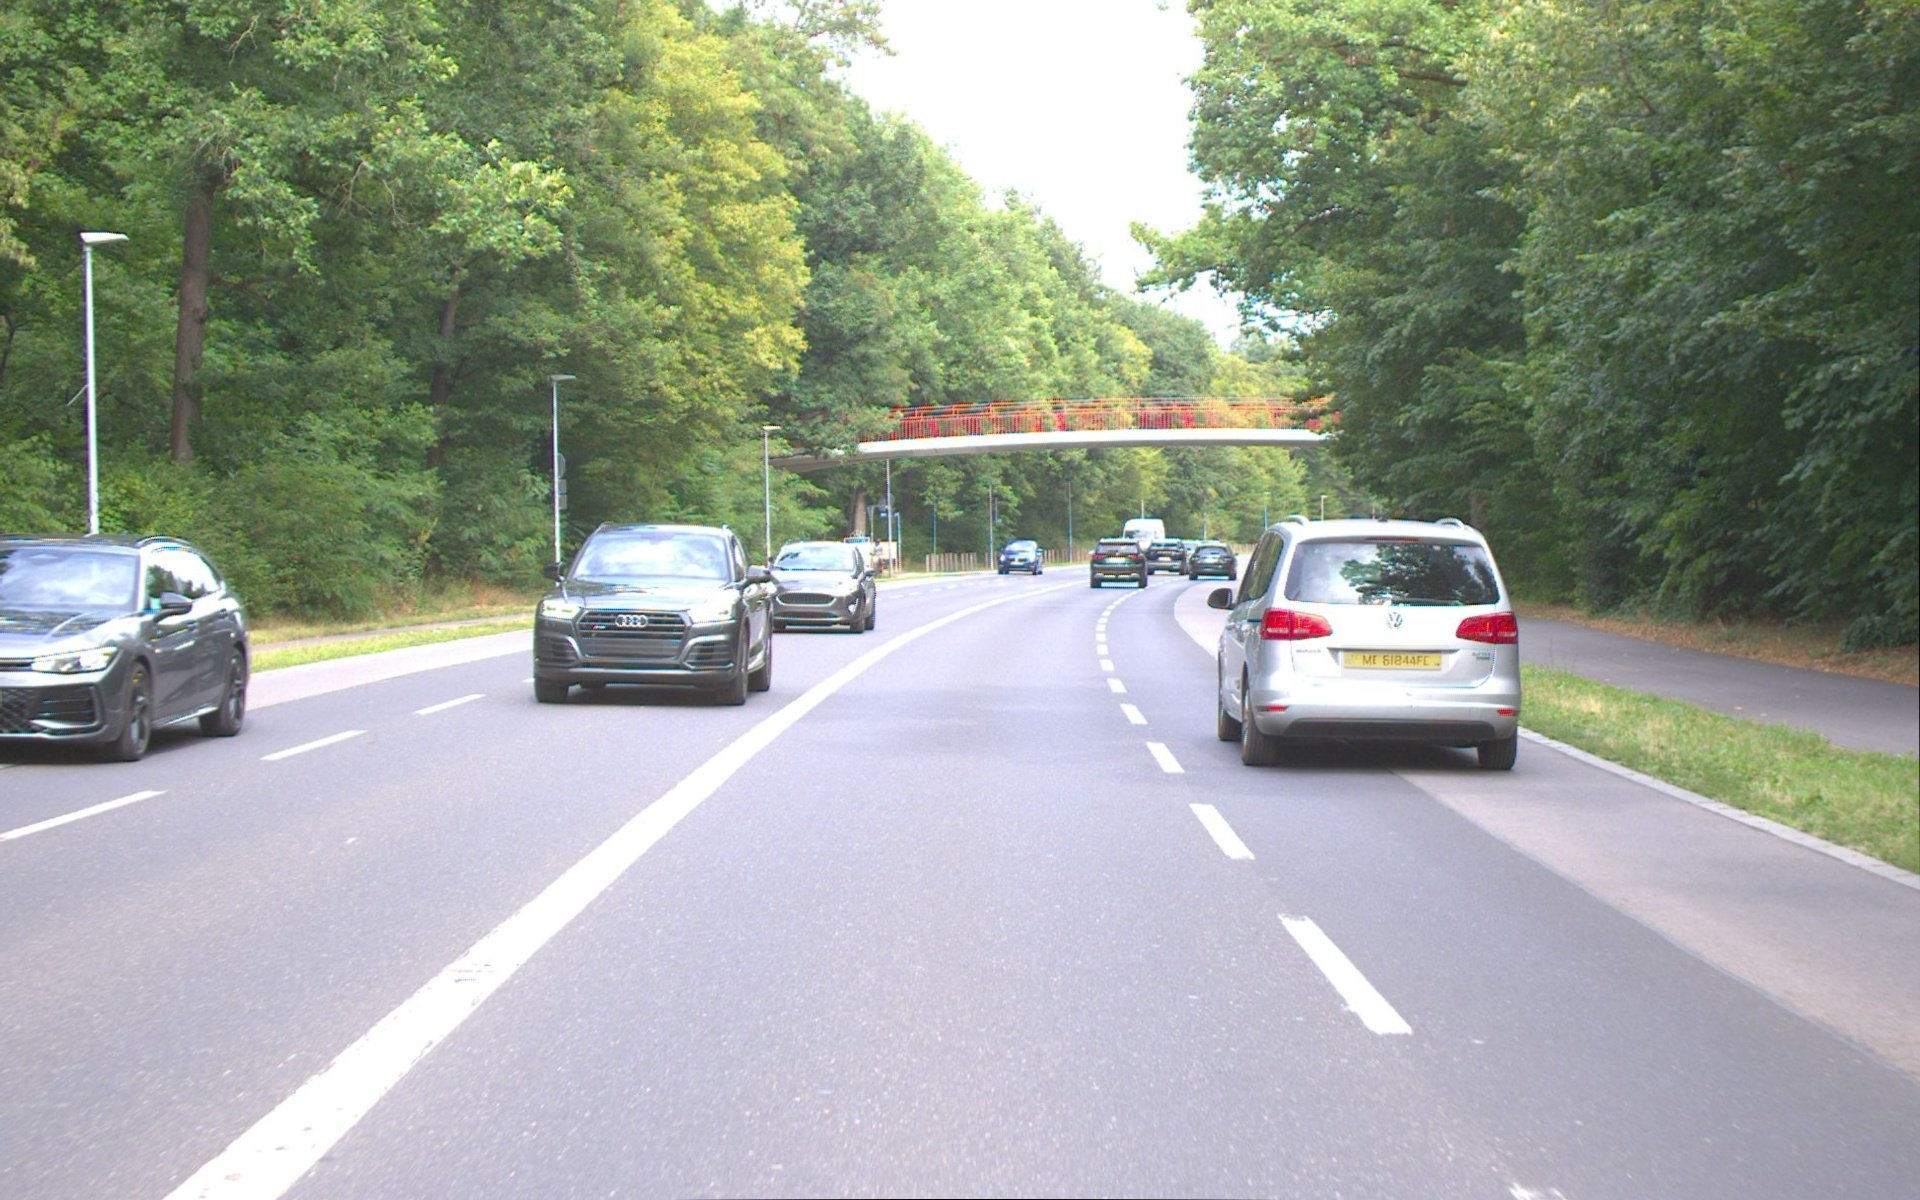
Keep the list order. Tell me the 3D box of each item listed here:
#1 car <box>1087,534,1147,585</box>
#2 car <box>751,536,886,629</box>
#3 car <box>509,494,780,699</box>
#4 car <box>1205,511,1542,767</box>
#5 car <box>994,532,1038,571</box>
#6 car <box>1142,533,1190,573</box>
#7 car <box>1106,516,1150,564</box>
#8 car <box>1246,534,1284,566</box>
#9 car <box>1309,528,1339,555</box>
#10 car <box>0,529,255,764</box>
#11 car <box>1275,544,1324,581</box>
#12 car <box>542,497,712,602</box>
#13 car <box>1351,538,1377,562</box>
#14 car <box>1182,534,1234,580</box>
[{"bbox_3d":[5.184,-1.309,113.234,1.730,1.582,3.999,2,0,5],"label":"car"},{"bbox_3d":[-2.246,-0.293,55.390,1.698,1.381,3.826,-2,0,4],"label":"car"},{"bbox_3d":[-2.850,-0.044,31.929,1.963,1.700,4.000,-2,0,2],"label":"car"},{"bbox_3d":[2.840,0.250,24.439,1.994,1.601,4.000,2,0,2],"label":"car"},{"bbox_3d":[2.425,-2.065,148.680,1.740,1.590,4.000,2,0,-1],"label":"car"},{"bbox_3d":[9.229,-2.080,153.873,1.994,1.691,3.999,2,0,5],"label":"car"},{"bbox_3d":[10.154,-3.591,207.186,2.100,2.744,4.345,2,0,9],"label":"car"},{"bbox_3d":[17.267,-2.829,194.789,1.803,1.662,4.000,2,0,1],"label":"car"},{"bbox_3d":[24.180,-3.872,228.220,1.804,1.662,3.999,2,0,4],"label":"car"},{"bbox_3d":[-6.170,0.238,23.242,1.815,1.415,4.519,1,1,1],"label":"car"},{"bbox_3d":[15.983,-1.743,162.036,1.803,1.662,4.000,2,0,-1],"label":"car"},{"bbox_3d":[-5.284,-0.781,55.095,1.994,1.547,3.999,2,0,5],"label":"car"},{"bbox_3d":[30.603,-3.785,260.443,1.804,1.662,3.998,2,0,9],"label":"car"},{"bbox_3d":[9.891,-1.707,137.154,1.994,1.744,3.999,2,0,4],"label":"car"}]
